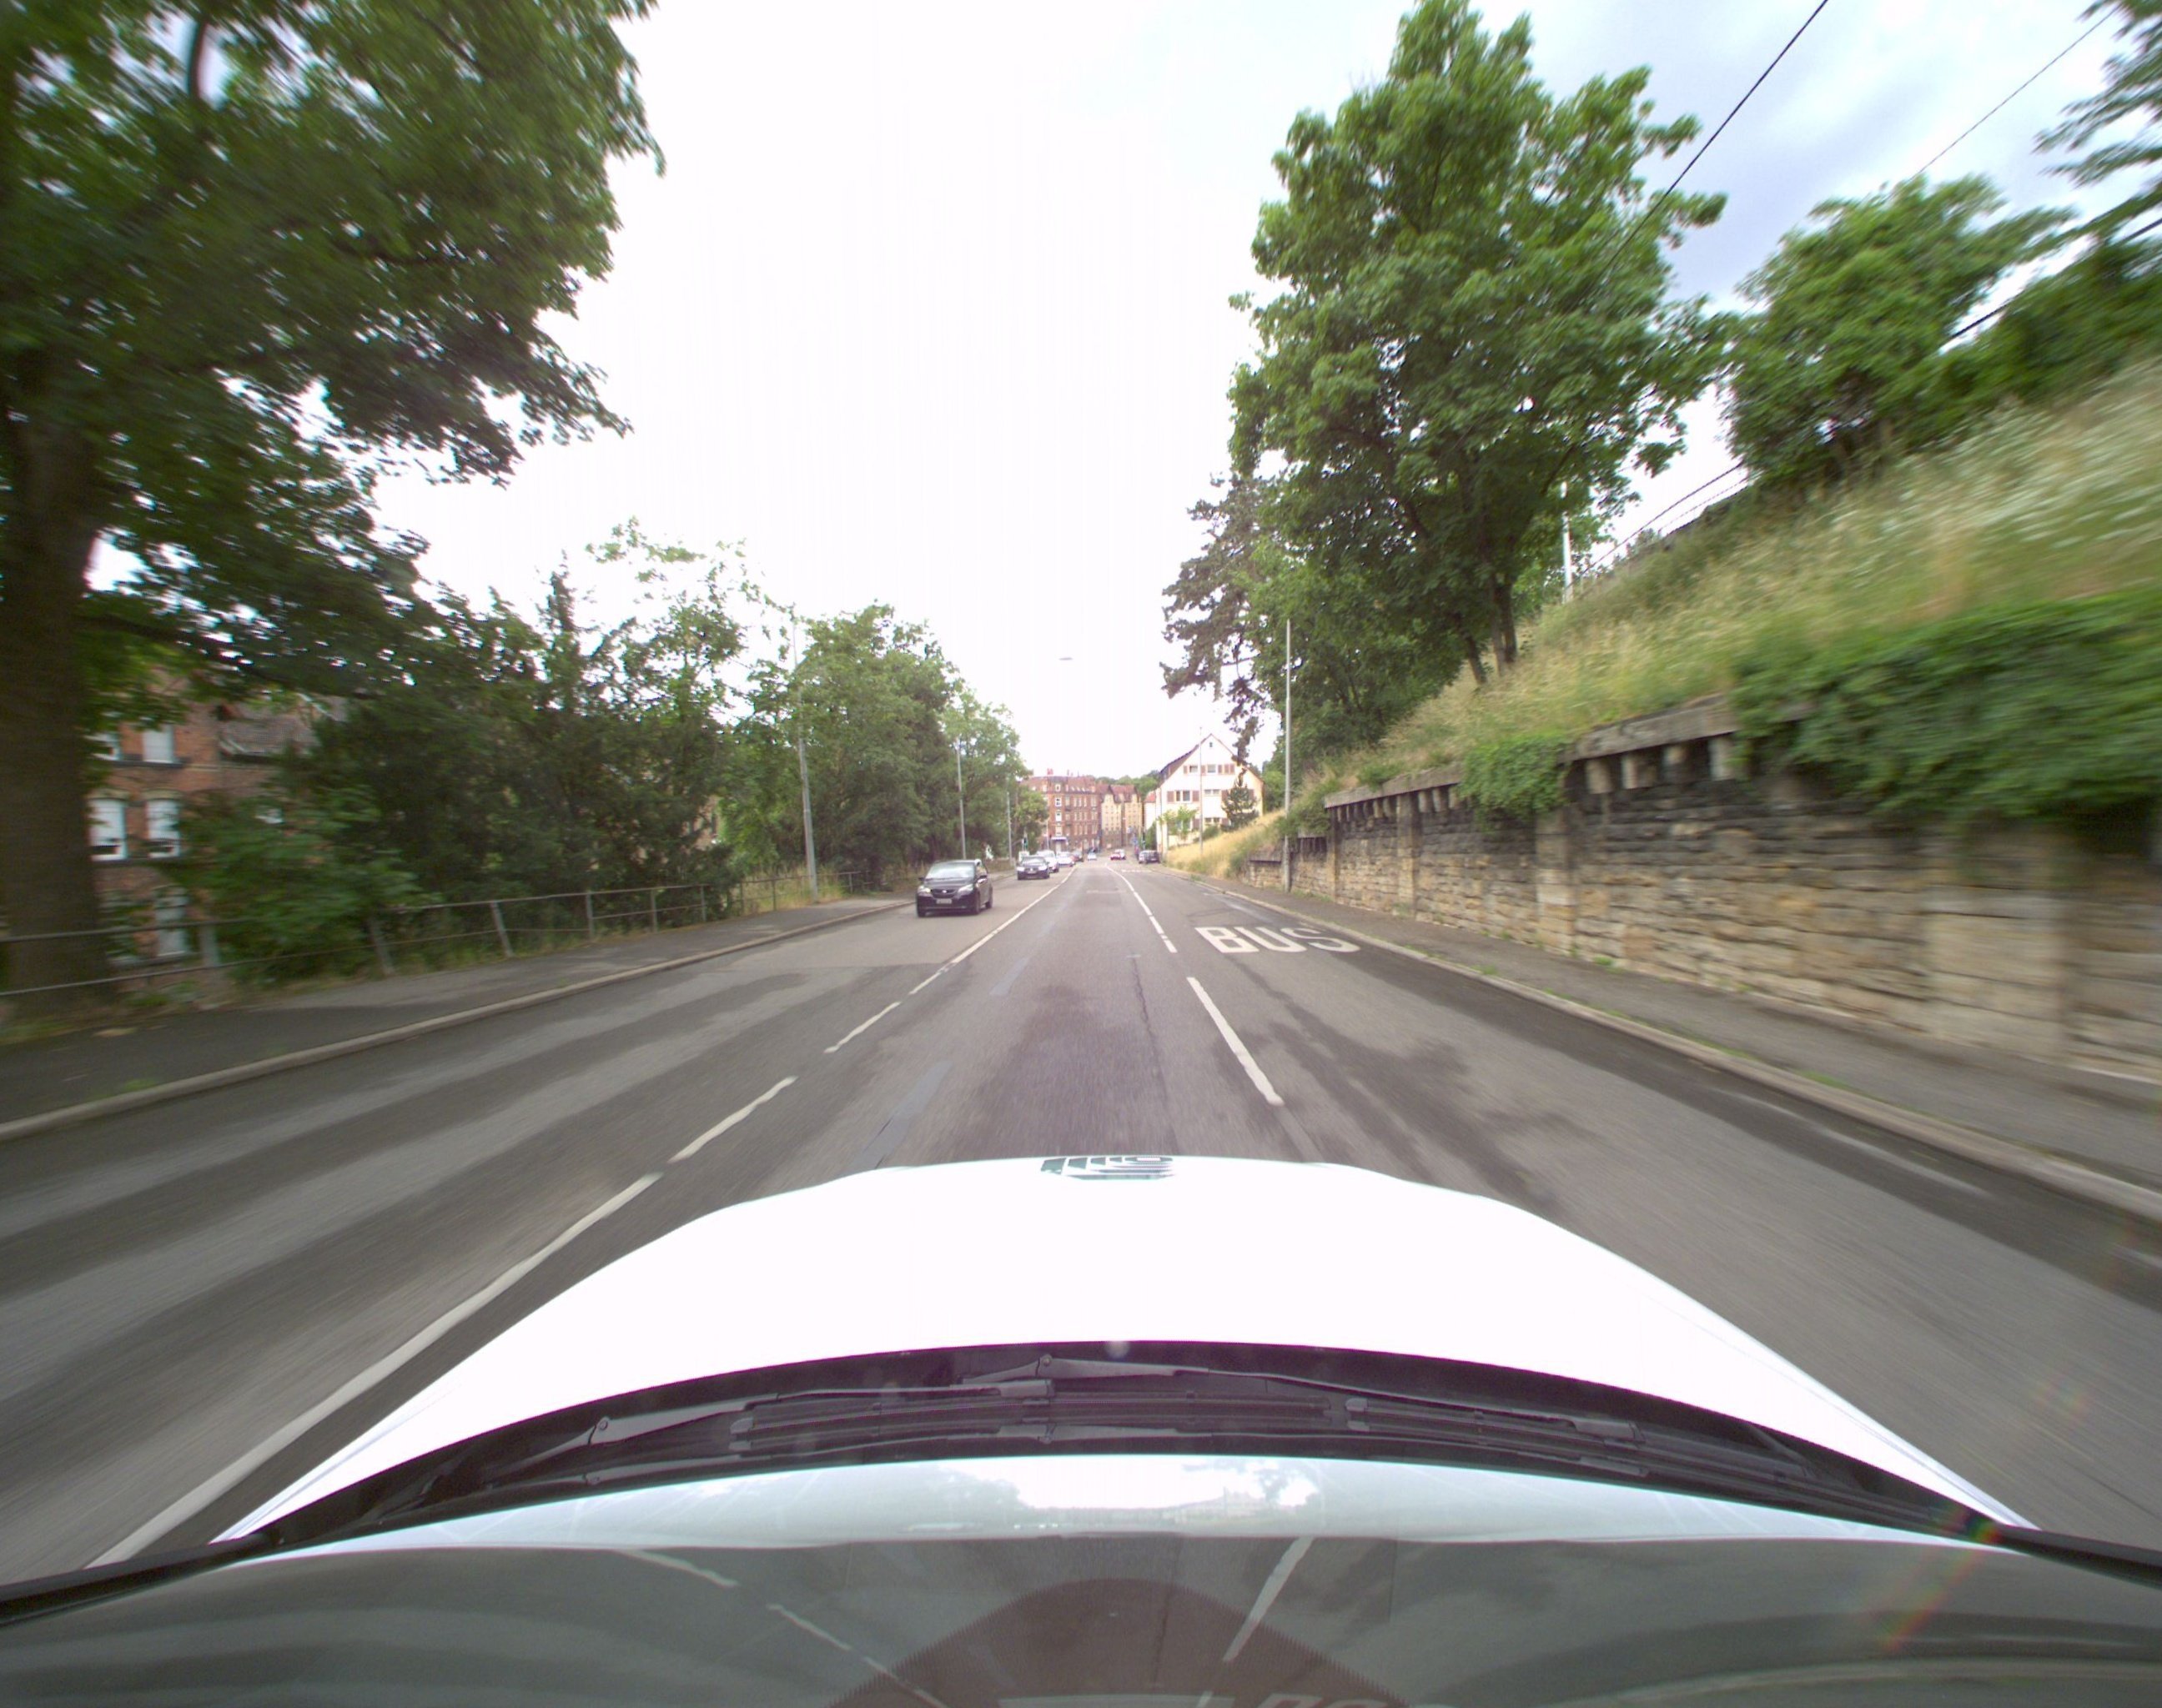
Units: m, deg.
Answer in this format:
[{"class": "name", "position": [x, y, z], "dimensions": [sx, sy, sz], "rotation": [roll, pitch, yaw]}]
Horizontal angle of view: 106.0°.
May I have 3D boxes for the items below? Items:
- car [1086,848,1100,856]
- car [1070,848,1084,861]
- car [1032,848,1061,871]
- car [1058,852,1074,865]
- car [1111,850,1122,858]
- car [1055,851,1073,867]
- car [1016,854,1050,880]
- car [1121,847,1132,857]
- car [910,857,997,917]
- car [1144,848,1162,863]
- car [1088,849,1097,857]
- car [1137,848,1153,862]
[{"class": "car", "position": [2.997, -0.506, 199.802], "dimensions": [1.965, 1.574, 4.397], "rotation": [-3, 0, 19]}, {"class": "car", "position": [-0.585, 0.093, 121.553], "dimensions": [1.777, 1.746, 4.430], "rotation": [-3, 0, 2]}, {"class": "car", "position": [-2.721, 0.442, 65.376], "dimensions": [1.988, 1.683, 4.665], "rotation": [-3, 0, 2]}, {"class": "car", "position": [-1.817, 0.579, 101.089], "dimensions": [1.777, 1.459, 4.429], "rotation": [-3, 0, 1]}, {"class": "car", "position": [6.520, -0.008, 150.790], "dimensions": [1.807, 1.430, 4.007], "rotation": [0, 0, 6]}, {"class": "car", "position": [-1.782, 0.513, 86.465], "dimensions": [1.777, 1.574, 4.281], "rotation": [-3, 0, 1]}, {"class": "car", "position": [-2.873, 0.731, 49.432], "dimensions": [1.707, 1.427, 4.139], "rotation": [-2, 0, 1]}, {"class": "car", "position": [8.865, -0.341, 157.366], "dimensions": [1.900, 1.884, 4.007], "rotation": [0, 0, 6]}, {"class": "car", "position": [-3.436, 0.845, 22.621], "dimensions": [1.662, 1.447, 3.690], "rotation": [-2, 0, 2]}, {"class": "car", "position": [7.989, 0.191, 90.266], "dimensions": [1.675, 1.451, 4.001], "rotation": [-5, -1, 1]}, {"class": "car", "position": [2.312, -0.137, 158.214], "dimensions": [1.714, 1.444, 4.160], "rotation": [-3, 0, 1]}, {"class": "car", "position": [7.841, 0.078, 99.221], "dimensions": [1.786, 1.451, 4.725], "rotation": [-5, 1, 5]}]
